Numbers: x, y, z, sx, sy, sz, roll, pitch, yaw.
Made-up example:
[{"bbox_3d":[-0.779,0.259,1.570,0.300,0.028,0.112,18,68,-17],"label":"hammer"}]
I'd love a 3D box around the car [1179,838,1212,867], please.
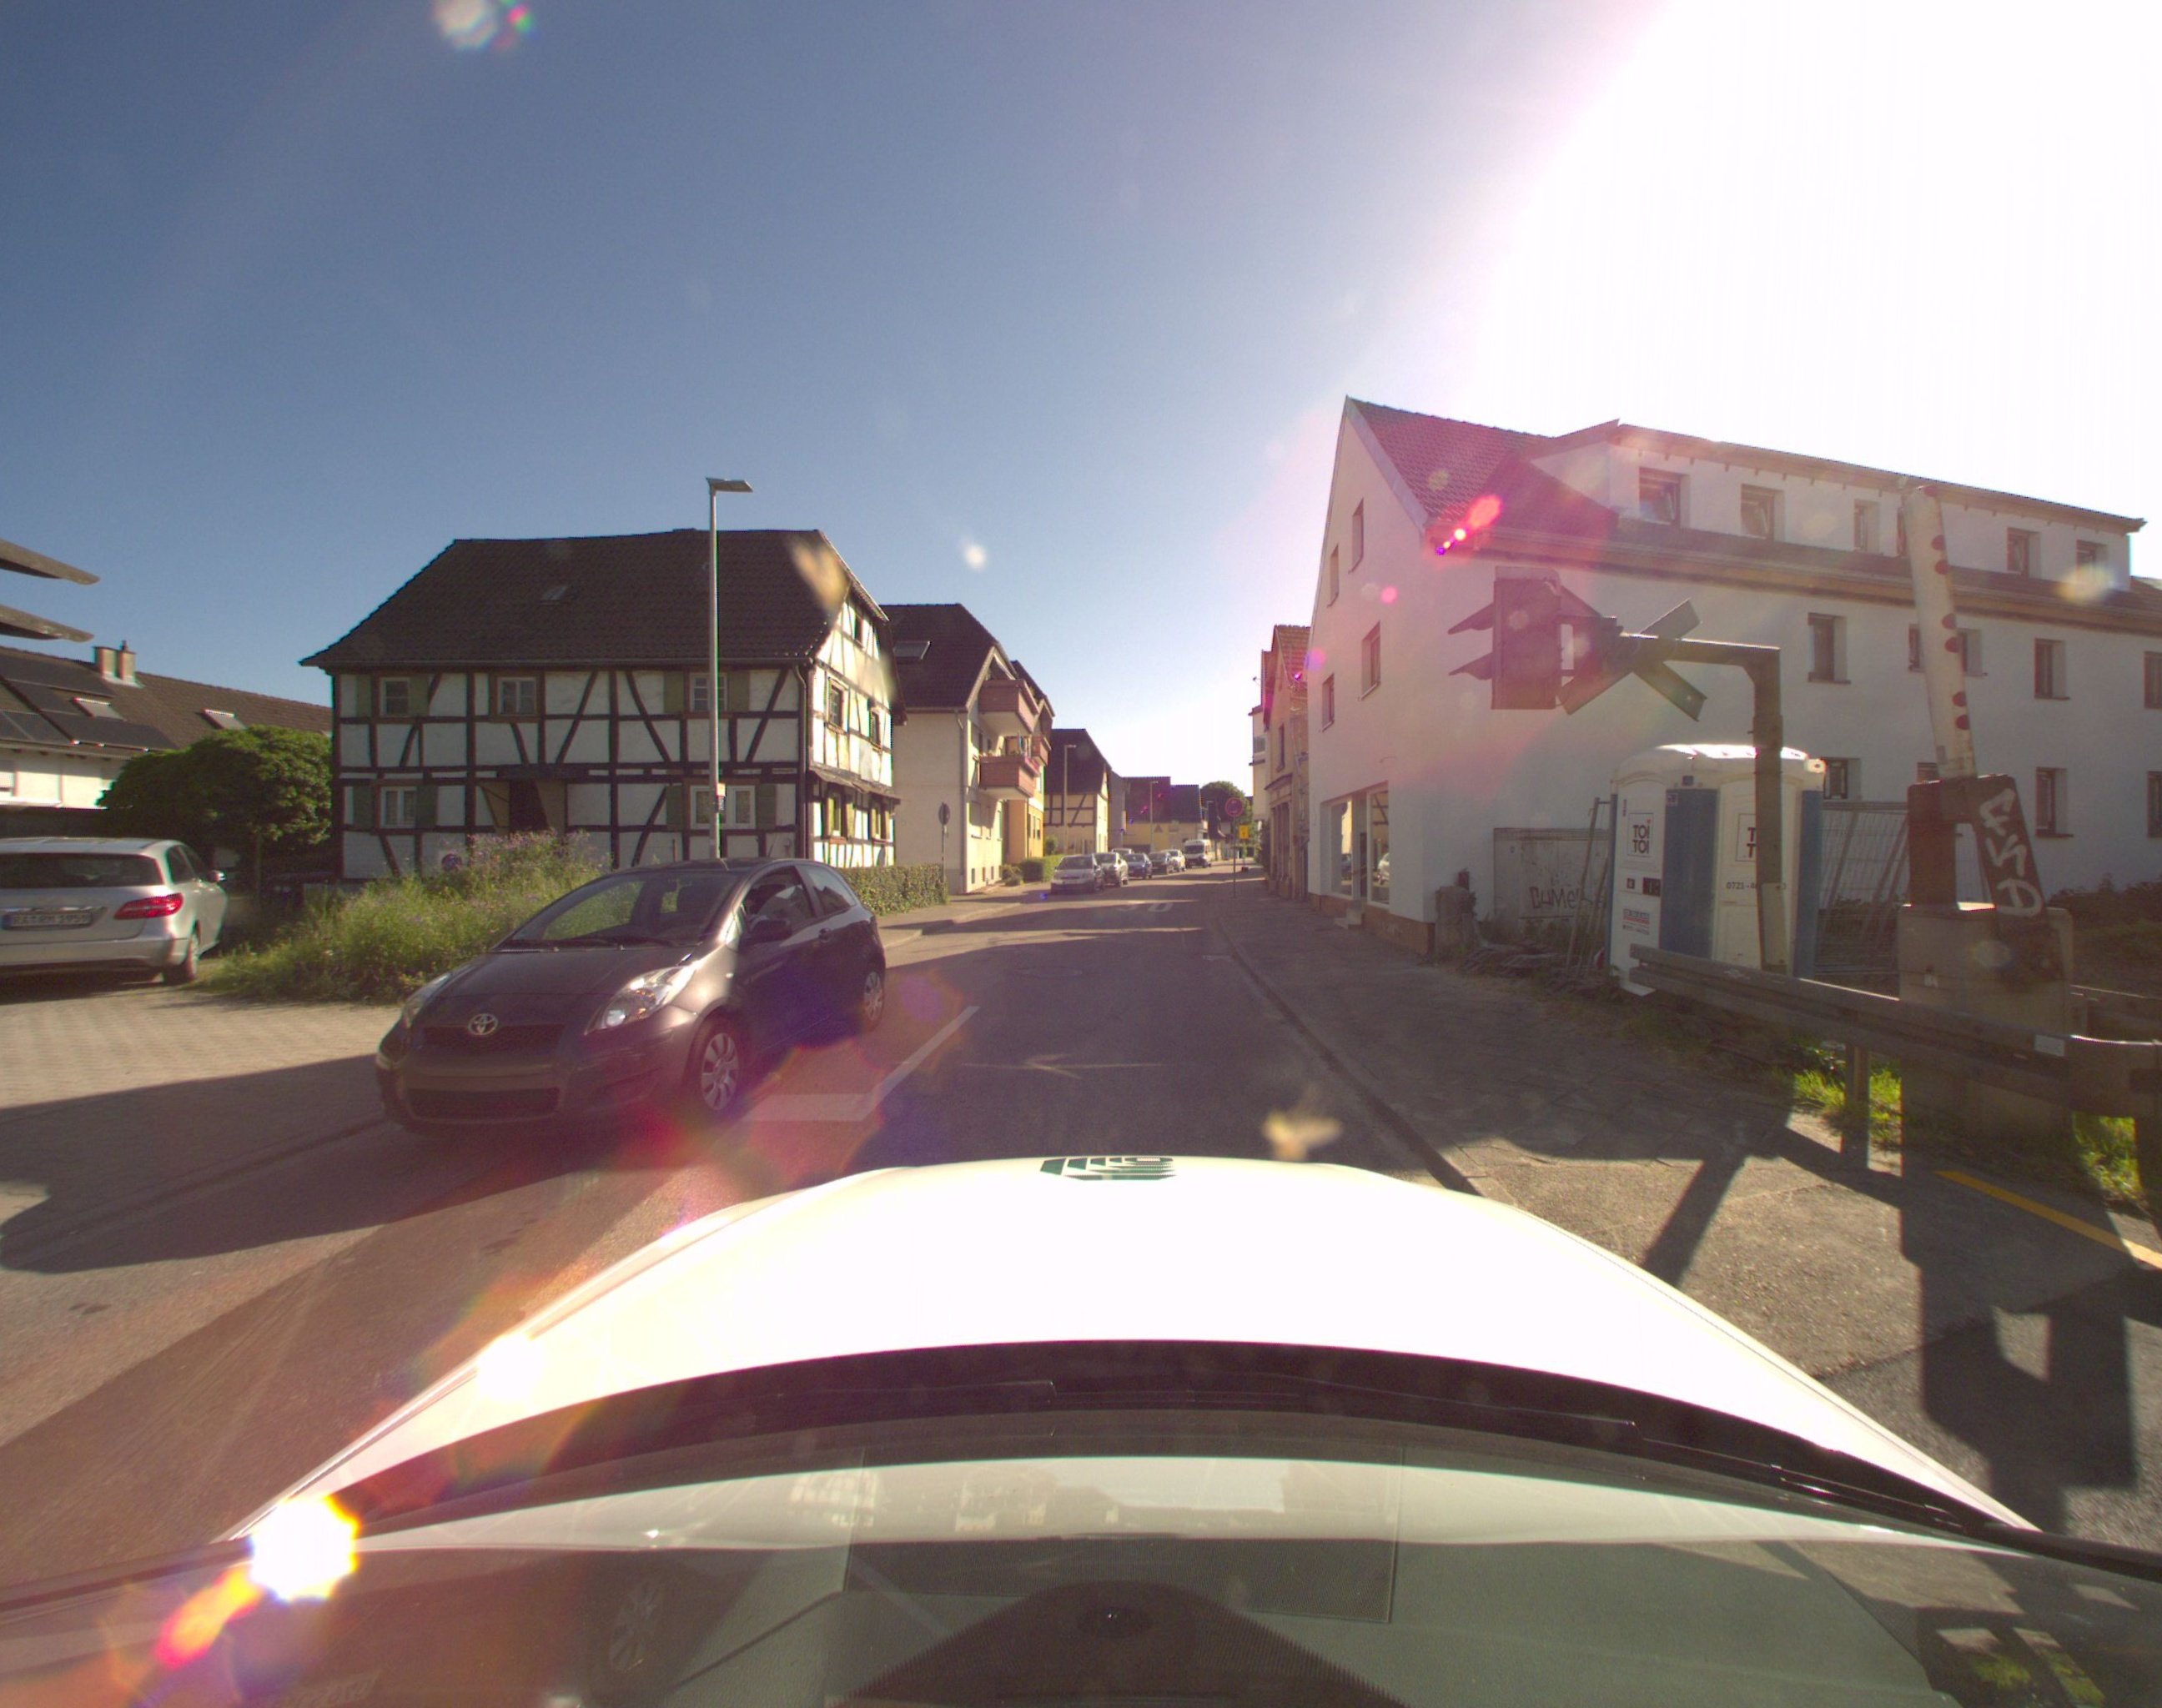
[{"bbox_3d":[10.087,-0.106,71.279,2.061,2.394,5.231,-2,0,16],"label":"car"}]

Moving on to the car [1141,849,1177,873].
[{"bbox_3d":[5.260,0.464,54.426,1.691,1.518,4.138,-2,0,15],"label":"car"}]

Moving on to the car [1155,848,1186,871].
[{"bbox_3d":[6.500,0.389,58.854,1.661,1.572,3.981,-2,0,14],"label":"car"}]

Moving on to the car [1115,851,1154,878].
[{"bbox_3d":[3.016,0.554,45.174,1.628,1.441,4.087,-1,0,11],"label":"car"}]

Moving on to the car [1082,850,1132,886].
[{"bbox_3d":[1.220,0.587,36.582,1.663,1.506,4.106,-1,0,10],"label":"car"}]

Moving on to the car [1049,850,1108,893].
[{"bbox_3d":[-0.036,0.631,31.321,1.621,1.506,3.863,-2,0,9],"label":"car"}]

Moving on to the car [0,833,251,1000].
[{"bbox_3d":[-11.069,0.576,9.358,1.697,1.564,3.954,2,-1,-40],"label":"car"}]

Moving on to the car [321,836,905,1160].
[{"bbox_3d":[-2.710,0.724,5.792,1.677,1.510,3.661,-3,-1,6],"label":"car"}]
